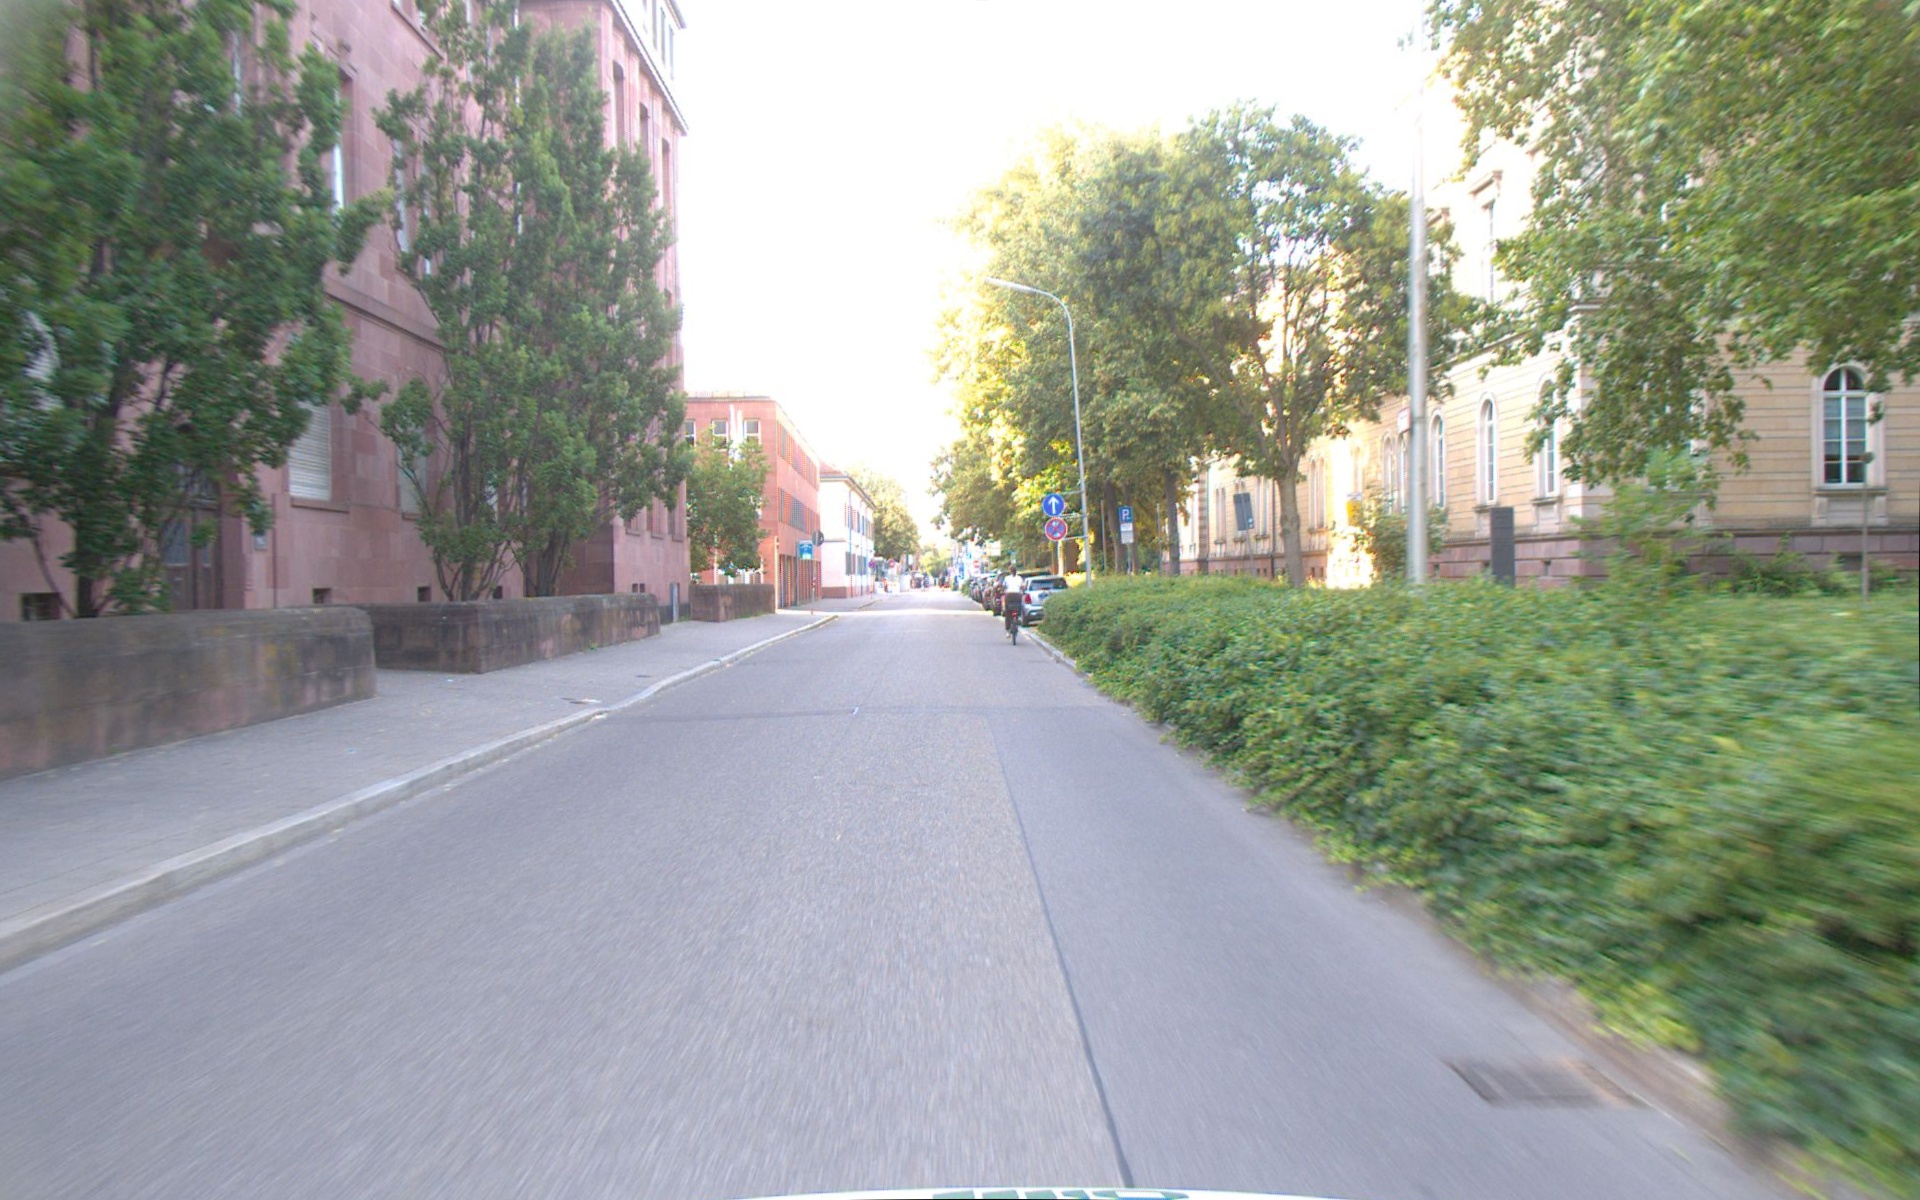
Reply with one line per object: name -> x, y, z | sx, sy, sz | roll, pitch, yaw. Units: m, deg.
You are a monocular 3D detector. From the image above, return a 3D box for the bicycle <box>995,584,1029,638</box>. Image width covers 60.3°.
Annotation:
bicycle -> 1.189, 0.234, 38.154 | 0.625, 1.214, 1.875 | 0, 1, -2

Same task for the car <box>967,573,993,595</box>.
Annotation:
car -> 1.643, -1.334, 137.381 | 1.953, 1.779, 3.999 | -2, 1, -2

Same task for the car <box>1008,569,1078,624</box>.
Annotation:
car -> 2.437, -0.106, 49.215 | 1.652, 1.472, 3.670 | -4, 0, -2

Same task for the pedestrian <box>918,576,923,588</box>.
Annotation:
pedestrian -> -5.070, -2.310, 212.696 | 0.523, 1.497, 0.448 | -2, 1, -3

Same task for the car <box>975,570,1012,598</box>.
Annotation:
car -> 2.010, -0.991, 100.243 | 1.953, 1.612, 3.999 | -2, 1, -2

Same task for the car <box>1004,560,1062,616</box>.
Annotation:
car -> 2.397, -0.432, 55.234 | 1.680, 1.742, 4.473 | -2, 1, 0

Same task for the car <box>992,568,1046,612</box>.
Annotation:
car -> 2.206, -0.410, 62.811 | 1.681, 1.564, 4.047 | -2, 1, -3

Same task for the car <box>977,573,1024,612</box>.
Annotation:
car -> 1.902, -0.390, 78.848 | 1.953, 1.735, 3.999 | -2, 1, -2

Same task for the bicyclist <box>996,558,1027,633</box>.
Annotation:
bicyclist -> 1.190, -0.111, 38.203 | 0.626, 1.696, 0.842 | 1, 0, -3
